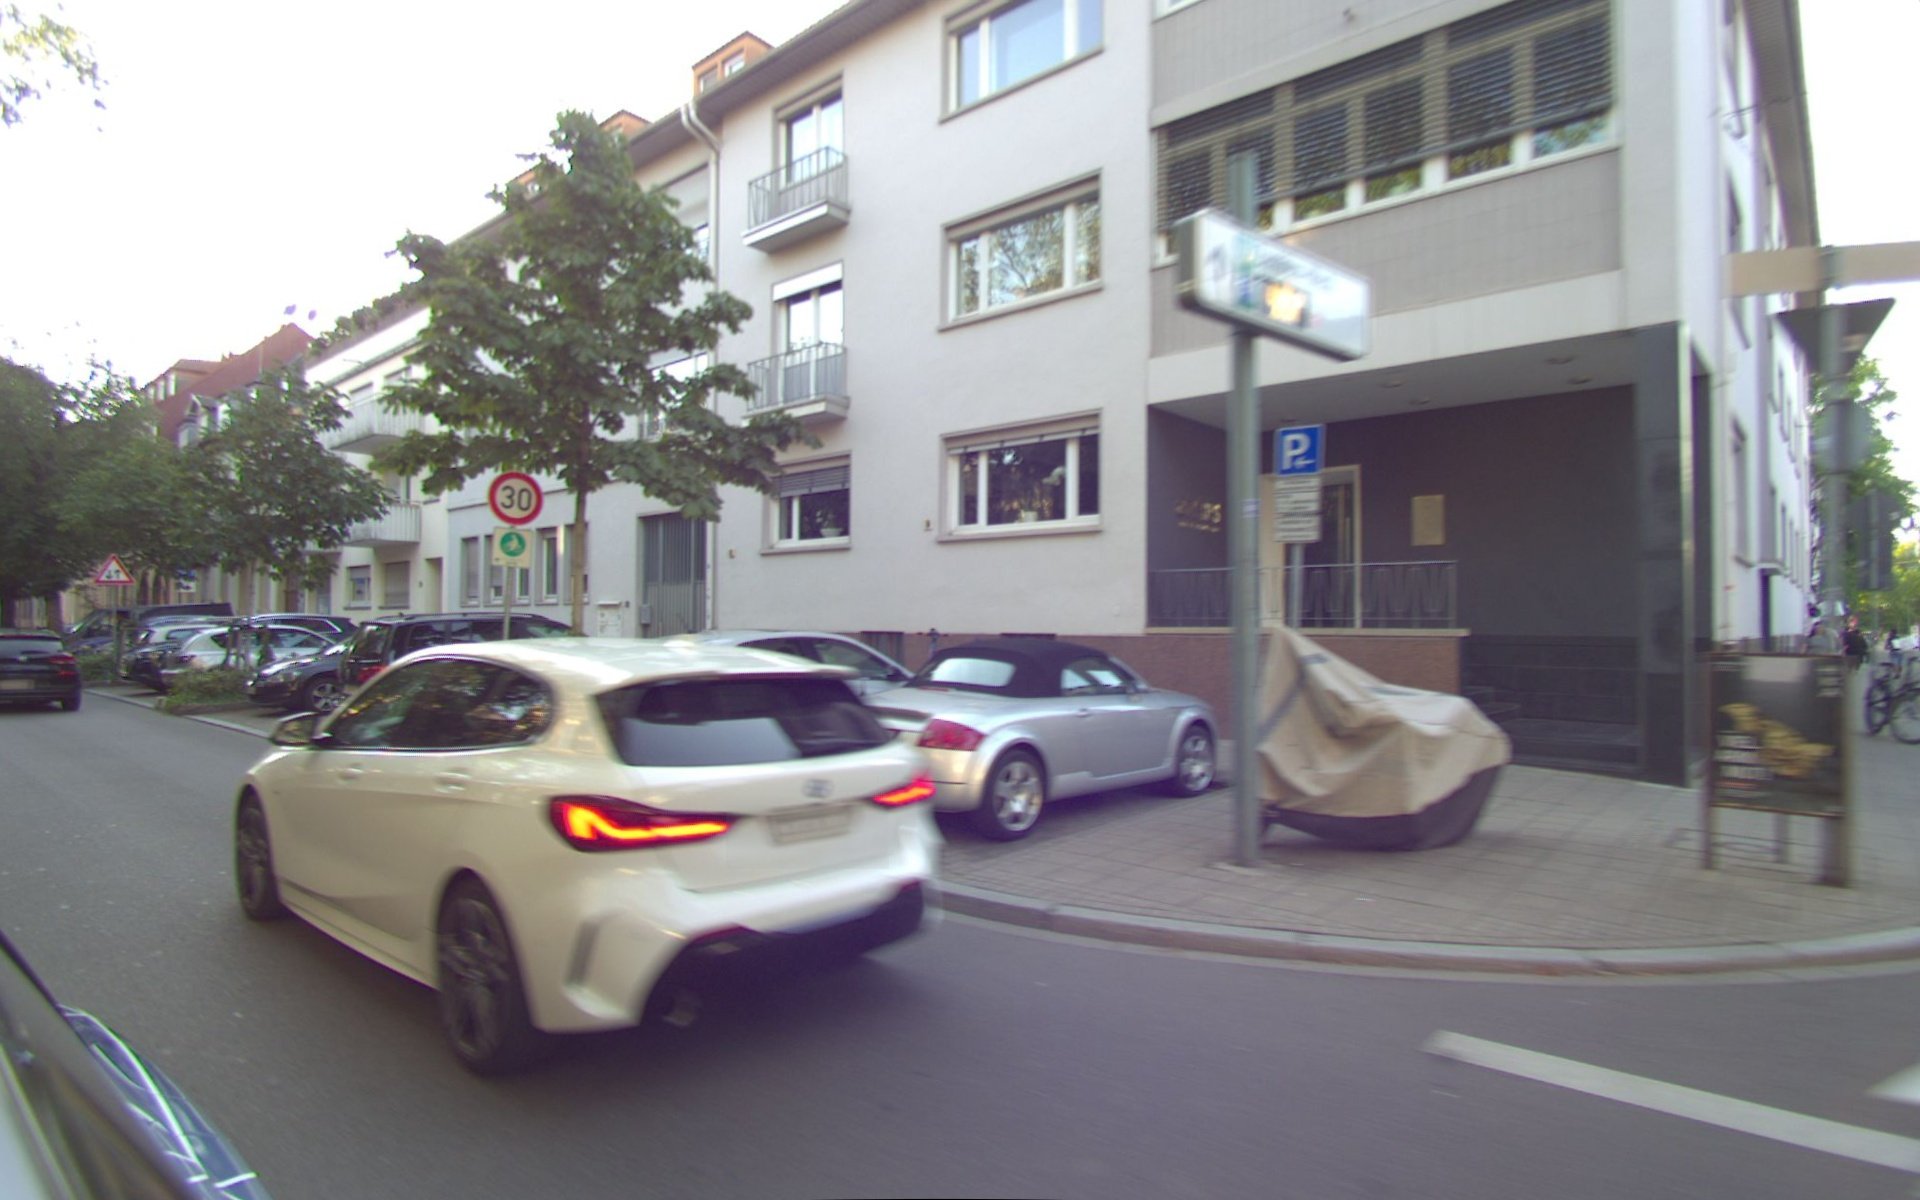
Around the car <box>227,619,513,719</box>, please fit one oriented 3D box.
[{"bbox_3d":[-10.298,1.124,17.876,1.755,1.451,4.031,-1,0,42],"label":"car"}]

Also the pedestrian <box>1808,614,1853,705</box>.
[{"bbox_3d":[17.202,1.153,20.012,0.585,1.725,0.647,4,1,41],"label":"pedestrian"}]

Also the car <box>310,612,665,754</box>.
[{"bbox_3d":[-6.414,1.021,14.041,1.935,1.644,4.049,-2,-2,42],"label":"car"}]

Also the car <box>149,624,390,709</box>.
[{"bbox_3d":[-14.642,1.336,21.587,1.781,1.505,3.983,-1,0,45],"label":"car"}]

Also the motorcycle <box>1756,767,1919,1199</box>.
[{"bbox_3d":[2.142,0.850,0.726,2.395,1.098,1.298,-1,-2,42],"label":"motorcycle"}]

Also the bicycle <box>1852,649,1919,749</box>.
[{"bbox_3d":[12.625,1.270,13.308,0.720,1.154,2.218,0,0,25],"label":"bicycle"}]

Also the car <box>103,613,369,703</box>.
[{"bbox_3d":[-16.448,1.229,23.184,2.155,1.778,4.617,-1,-1,40],"label":"car"}]

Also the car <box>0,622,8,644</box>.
[{"bbox_3d":[-64.263,2.207,65.673,1.671,1.416,3.454,-2,0,39],"label":"car"}]

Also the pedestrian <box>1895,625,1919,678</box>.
[{"bbox_3d":[32.029,1.720,34.159,0.585,1.725,0.647,4,1,41],"label":"pedestrian"}]

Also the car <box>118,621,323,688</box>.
[{"bbox_3d":[-18.263,1.296,25.110,1.854,1.462,3.805,-3,-2,41],"label":"car"}]

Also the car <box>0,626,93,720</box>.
[{"bbox_3d":[-17.417,1.262,18.407,4.273,1.561,1.857,-1,-4,41],"label":"car"}]

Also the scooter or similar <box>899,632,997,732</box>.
[{"bbox_3d":[-0.183,1.095,13.915,0.509,1.271,1.421,0,0,-44],"label":"scooter or similar"}]

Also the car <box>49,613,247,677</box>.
[{"bbox_3d":[-24.020,1.280,30.066,1.930,1.584,4.309,-1,1,41],"label":"car"}]

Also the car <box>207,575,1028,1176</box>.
[{"bbox_3d":[-1.921,0.785,4.798,4.274,1.561,1.856,-1,-3,43],"label":"car"}]

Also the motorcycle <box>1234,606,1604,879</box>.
[{"bbox_3d":[2.835,0.780,6.235,2.118,1.430,0.971,2,-2,-27],"label":"motorcycle"}]

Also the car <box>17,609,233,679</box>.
[{"bbox_3d":[-26.081,1.333,31.779,2.188,2.006,4.938,-2,-2,41],"label":"car"}]

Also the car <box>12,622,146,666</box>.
[{"bbox_3d":[-33.449,1.641,38.494,1.658,1.460,3.646,-1,0,41],"label":"car"}]

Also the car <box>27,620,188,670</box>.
[{"bbox_3d":[-31.252,1.601,37.203,1.771,1.550,4.309,0,1,41],"label":"car"}]

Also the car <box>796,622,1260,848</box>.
[{"bbox_3d":[0.710,0.900,8.387,3.697,1.321,1.845,-1,0,-45],"label":"car"}]

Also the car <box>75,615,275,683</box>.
[{"bbox_3d":[-21.791,1.294,28.208,1.823,1.603,4.111,-1,1,41],"label":"car"}]

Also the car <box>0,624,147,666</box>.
[{"bbox_3d":[-35.505,1.763,40.485,1.716,1.417,4.383,0,1,37],"label":"car"}]

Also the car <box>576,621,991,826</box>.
[{"bbox_3d":[-1.531,0.993,9.775,1.734,1.469,3.703,-1,0,40],"label":"car"}]
